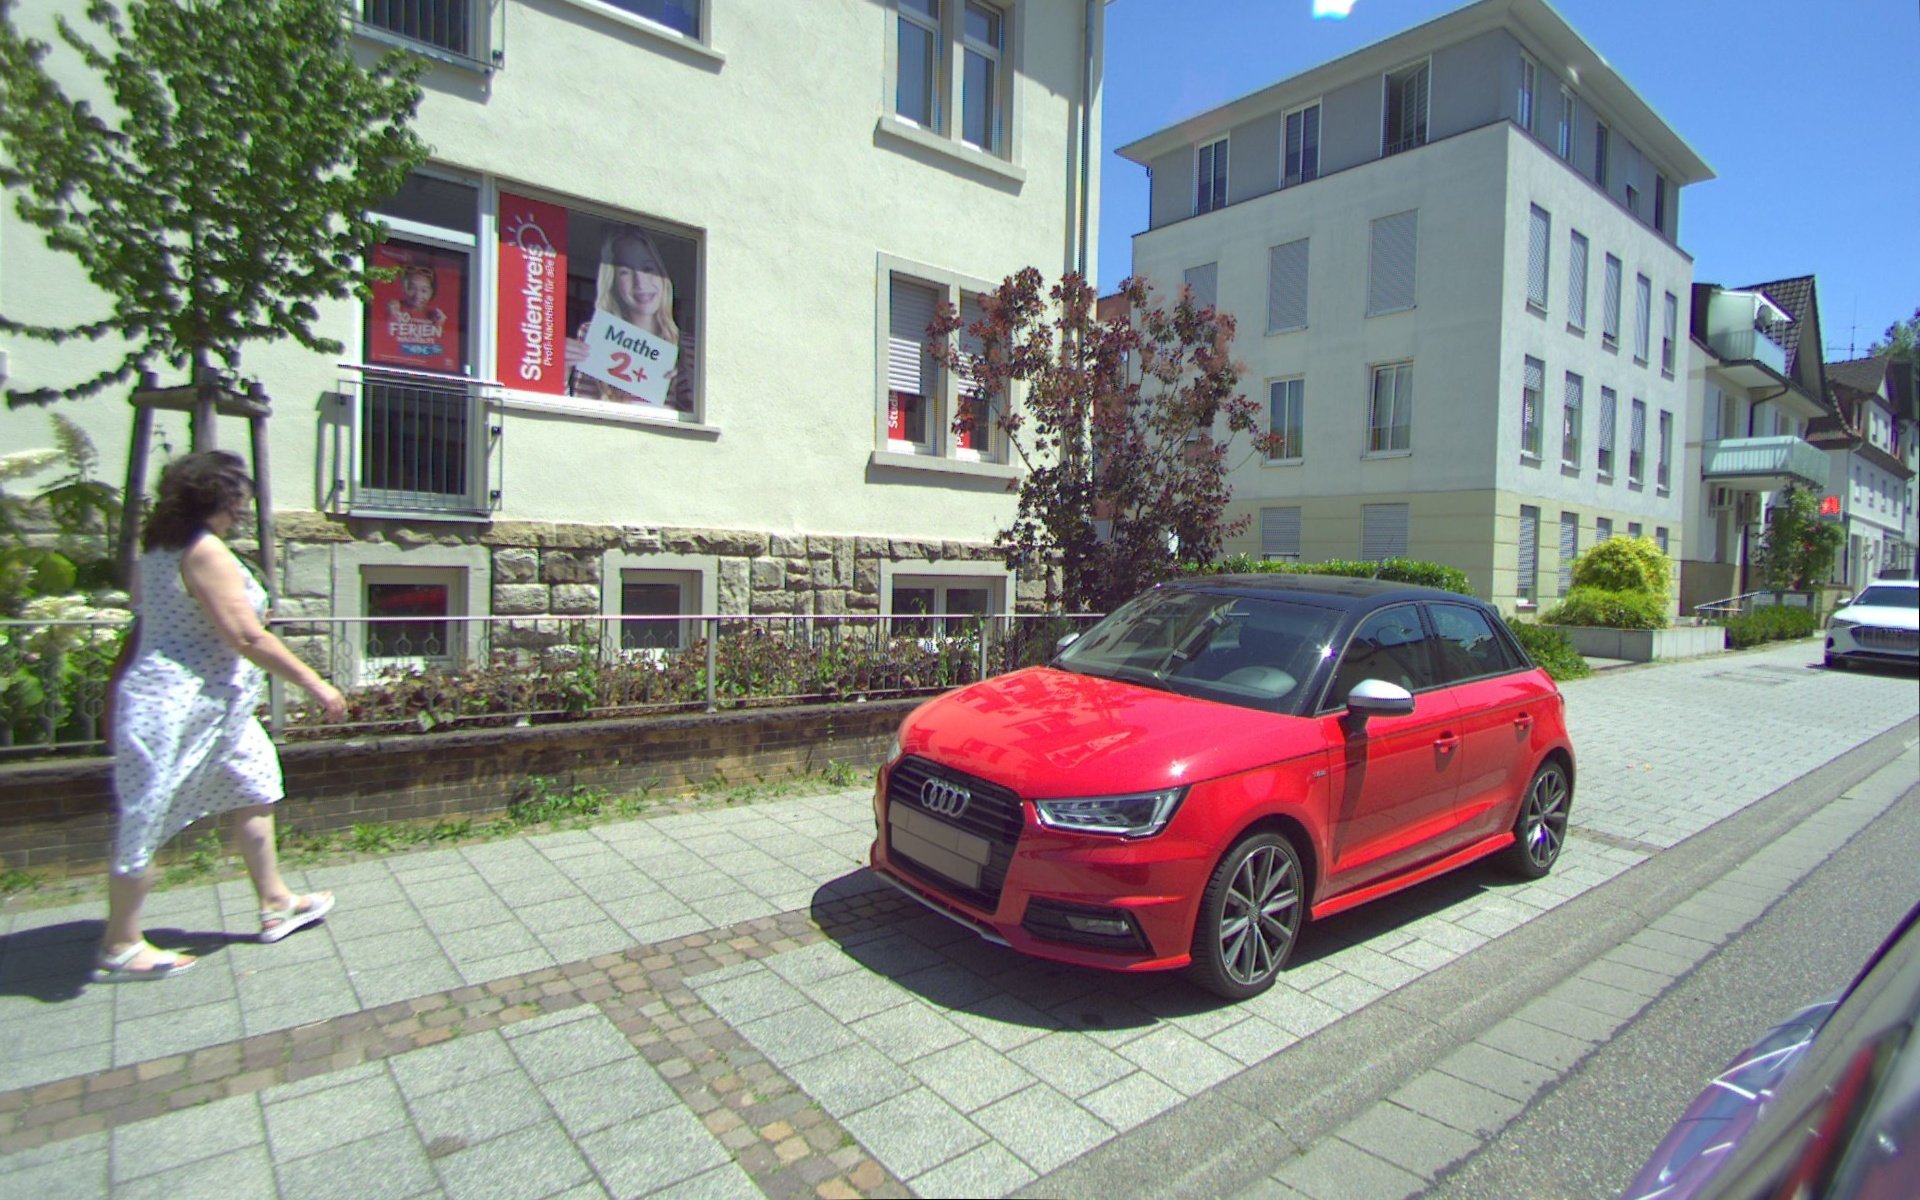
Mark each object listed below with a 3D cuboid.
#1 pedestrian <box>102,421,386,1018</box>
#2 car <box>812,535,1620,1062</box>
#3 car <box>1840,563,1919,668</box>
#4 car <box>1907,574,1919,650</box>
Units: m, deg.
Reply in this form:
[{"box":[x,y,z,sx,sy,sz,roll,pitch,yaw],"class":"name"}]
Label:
[{"box":[-2.383,0.315,3.351,0.693,1.689,0.742,0,4,-41],"class":"pedestrian"},{"box":[1.389,0.526,4.688,3.783,1.458,1.608,0,5,-39],"class":"car"},{"box":[17.527,0.253,18.229,4.498,1.686,1.710,-1,5,-40],"class":"car"},{"box":[22.284,0.301,22.084,4.663,1.575,1.710,0,4,-40],"class":"car"}]
